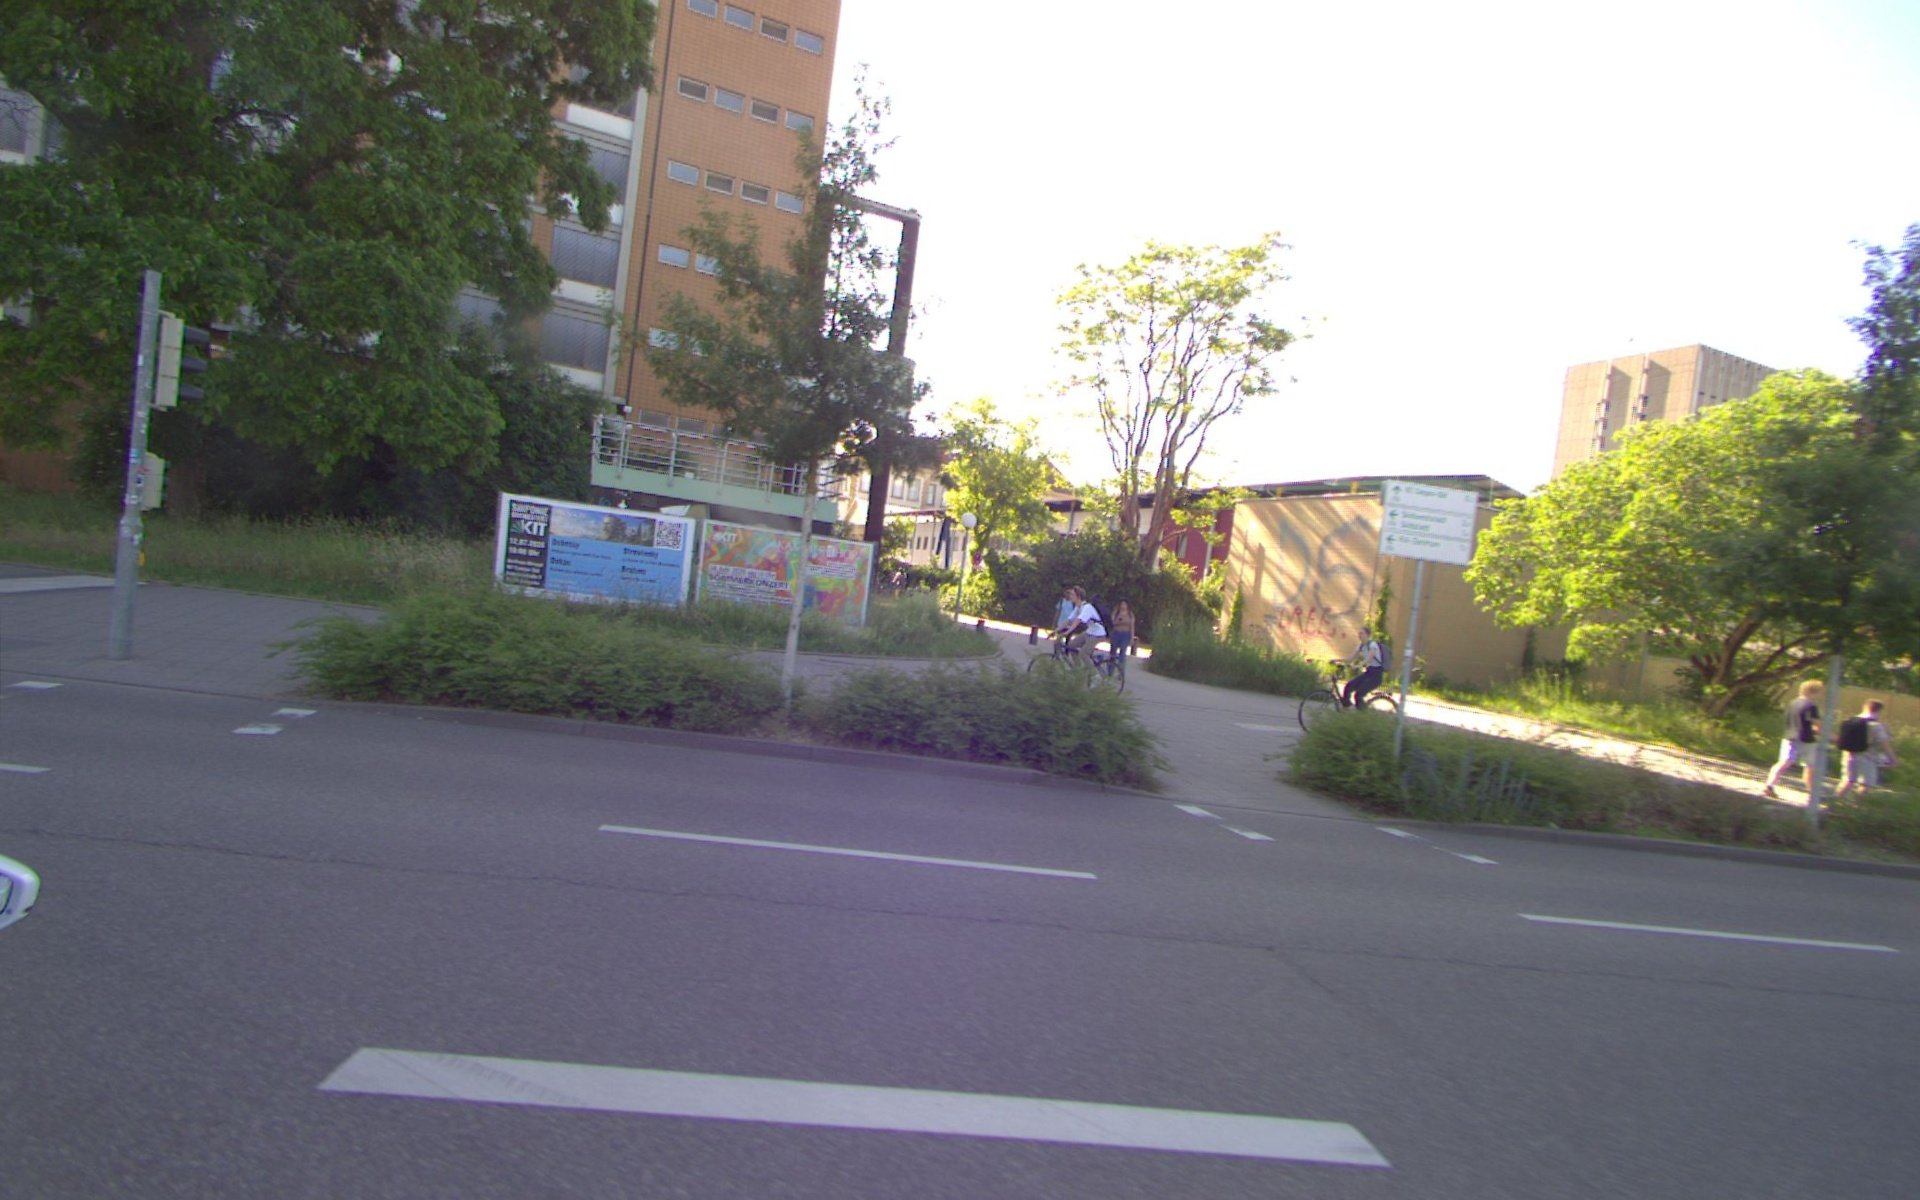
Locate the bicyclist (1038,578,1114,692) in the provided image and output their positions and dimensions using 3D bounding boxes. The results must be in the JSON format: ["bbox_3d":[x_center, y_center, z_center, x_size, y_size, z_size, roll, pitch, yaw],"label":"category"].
[{"bbox_3d":[1.775,0.526,15.549,0.818,1.618,0.629,6,5,-11],"label":"bicyclist"}]

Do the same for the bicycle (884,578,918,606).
[{"bbox_3d":[-2.835,-0.385,48.632,0.734,1.180,1.869,8,1,22],"label":"bicycle"}]

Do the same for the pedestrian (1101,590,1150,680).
[{"bbox_3d":[3.299,0.698,20.112,0.665,1.663,0.736,9,1,5],"label":"pedestrian"}]

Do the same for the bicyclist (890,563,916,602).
[{"bbox_3d":[-2.743,-0.822,48.709,0.709,1.757,0.977,8,2,22],"label":"bicyclist"}]

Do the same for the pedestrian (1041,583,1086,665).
[{"bbox_3d":[2.267,0.534,21.910,0.665,1.663,0.736,9,1,11],"label":"pedestrian"}]

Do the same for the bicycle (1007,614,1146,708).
[{"bbox_3d":[1.795,0.946,15.598,1.924,1.181,0.641,7,4,-11],"label":"bicycle"}]

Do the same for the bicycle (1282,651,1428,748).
[{"bbox_3d":[6.006,1.512,15.351,1.836,1.181,0.642,7,3,-3],"label":"bicycle"}]

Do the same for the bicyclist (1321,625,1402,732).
[{"bbox_3d":[6.104,1.183,15.334,0.762,1.464,0.642,7,3,-2],"label":"bicyclist"}]

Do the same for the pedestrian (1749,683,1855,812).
[{"bbox_3d":[13.011,2.264,15.573,0.723,1.803,0.731,9,1,-3],"label":"pedestrian"}]

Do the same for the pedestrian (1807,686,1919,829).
[{"bbox_3d":[12.927,2.234,14.370,0.723,1.838,0.730,9,1,-3],"label":"pedestrian"}]
